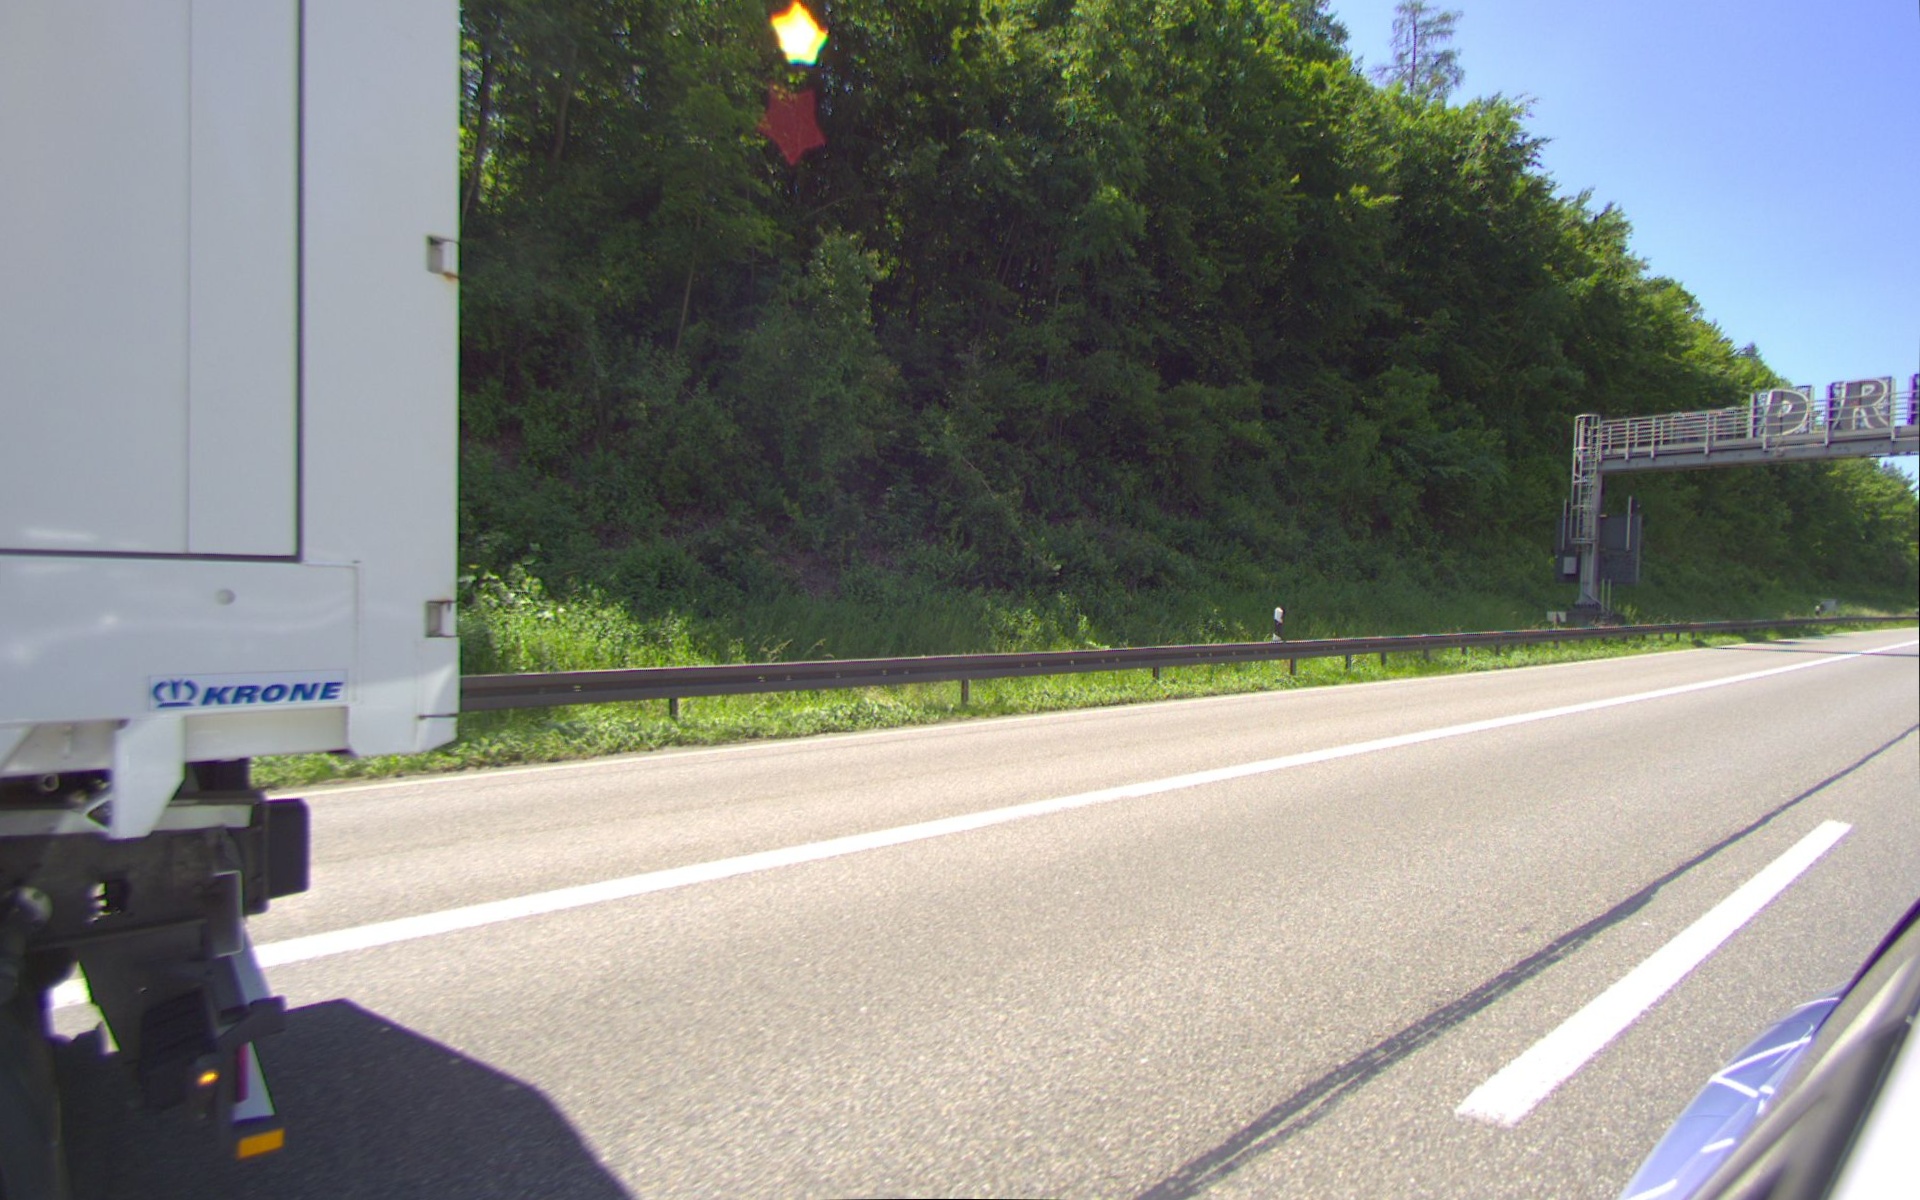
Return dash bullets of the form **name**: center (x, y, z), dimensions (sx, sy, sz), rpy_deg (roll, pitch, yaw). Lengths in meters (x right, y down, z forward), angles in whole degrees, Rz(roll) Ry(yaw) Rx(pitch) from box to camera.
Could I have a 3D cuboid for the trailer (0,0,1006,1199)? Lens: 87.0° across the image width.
- **trailer**: center (-4.450, -0.711, 0.672), dimensions (9.890, 4.228, 2.684), rpy_deg (0, 0, -41)
